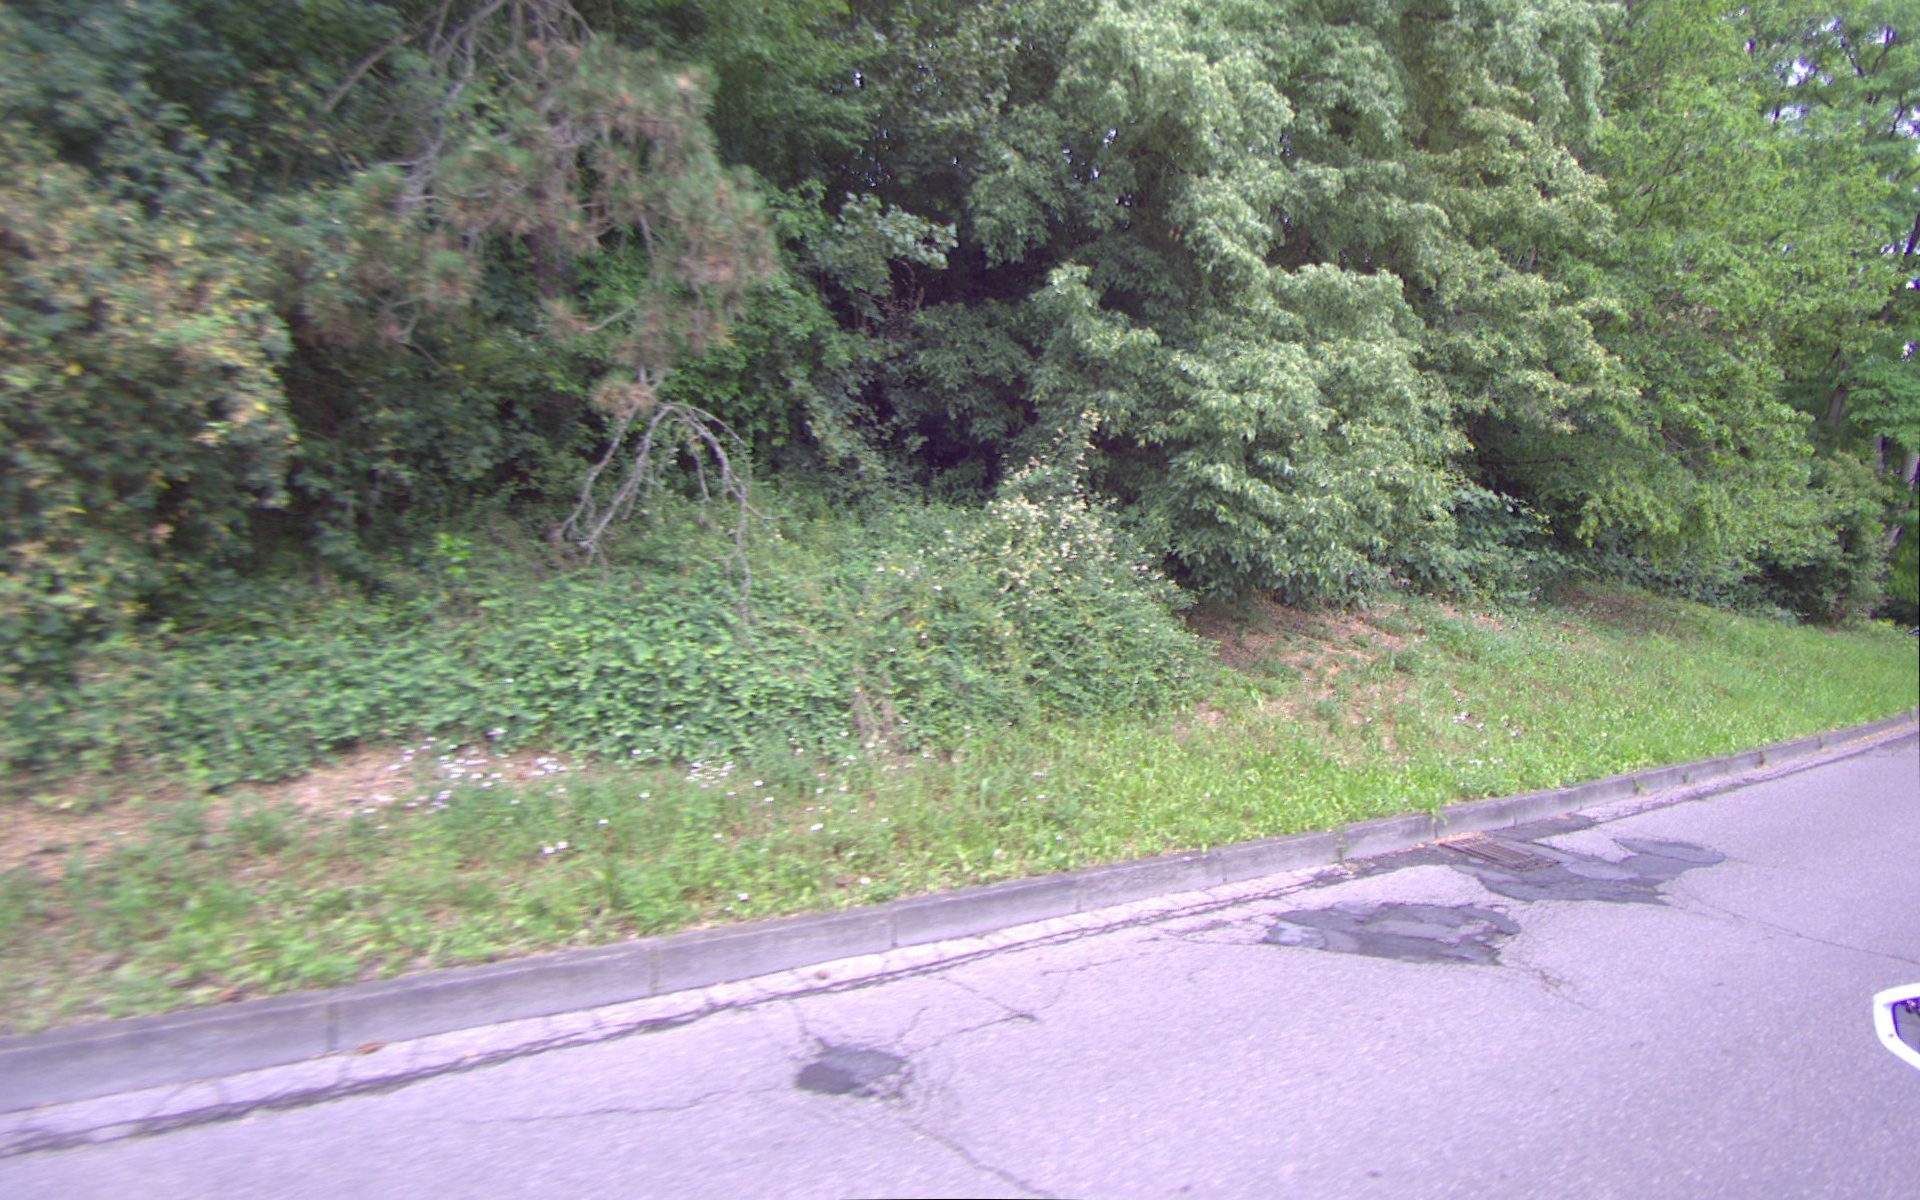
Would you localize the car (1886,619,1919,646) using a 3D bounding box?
[{"bbox_3d":[59.707,2.033,62.562,1.687,1.529,4.177,4,0,25],"label":"car"}]
